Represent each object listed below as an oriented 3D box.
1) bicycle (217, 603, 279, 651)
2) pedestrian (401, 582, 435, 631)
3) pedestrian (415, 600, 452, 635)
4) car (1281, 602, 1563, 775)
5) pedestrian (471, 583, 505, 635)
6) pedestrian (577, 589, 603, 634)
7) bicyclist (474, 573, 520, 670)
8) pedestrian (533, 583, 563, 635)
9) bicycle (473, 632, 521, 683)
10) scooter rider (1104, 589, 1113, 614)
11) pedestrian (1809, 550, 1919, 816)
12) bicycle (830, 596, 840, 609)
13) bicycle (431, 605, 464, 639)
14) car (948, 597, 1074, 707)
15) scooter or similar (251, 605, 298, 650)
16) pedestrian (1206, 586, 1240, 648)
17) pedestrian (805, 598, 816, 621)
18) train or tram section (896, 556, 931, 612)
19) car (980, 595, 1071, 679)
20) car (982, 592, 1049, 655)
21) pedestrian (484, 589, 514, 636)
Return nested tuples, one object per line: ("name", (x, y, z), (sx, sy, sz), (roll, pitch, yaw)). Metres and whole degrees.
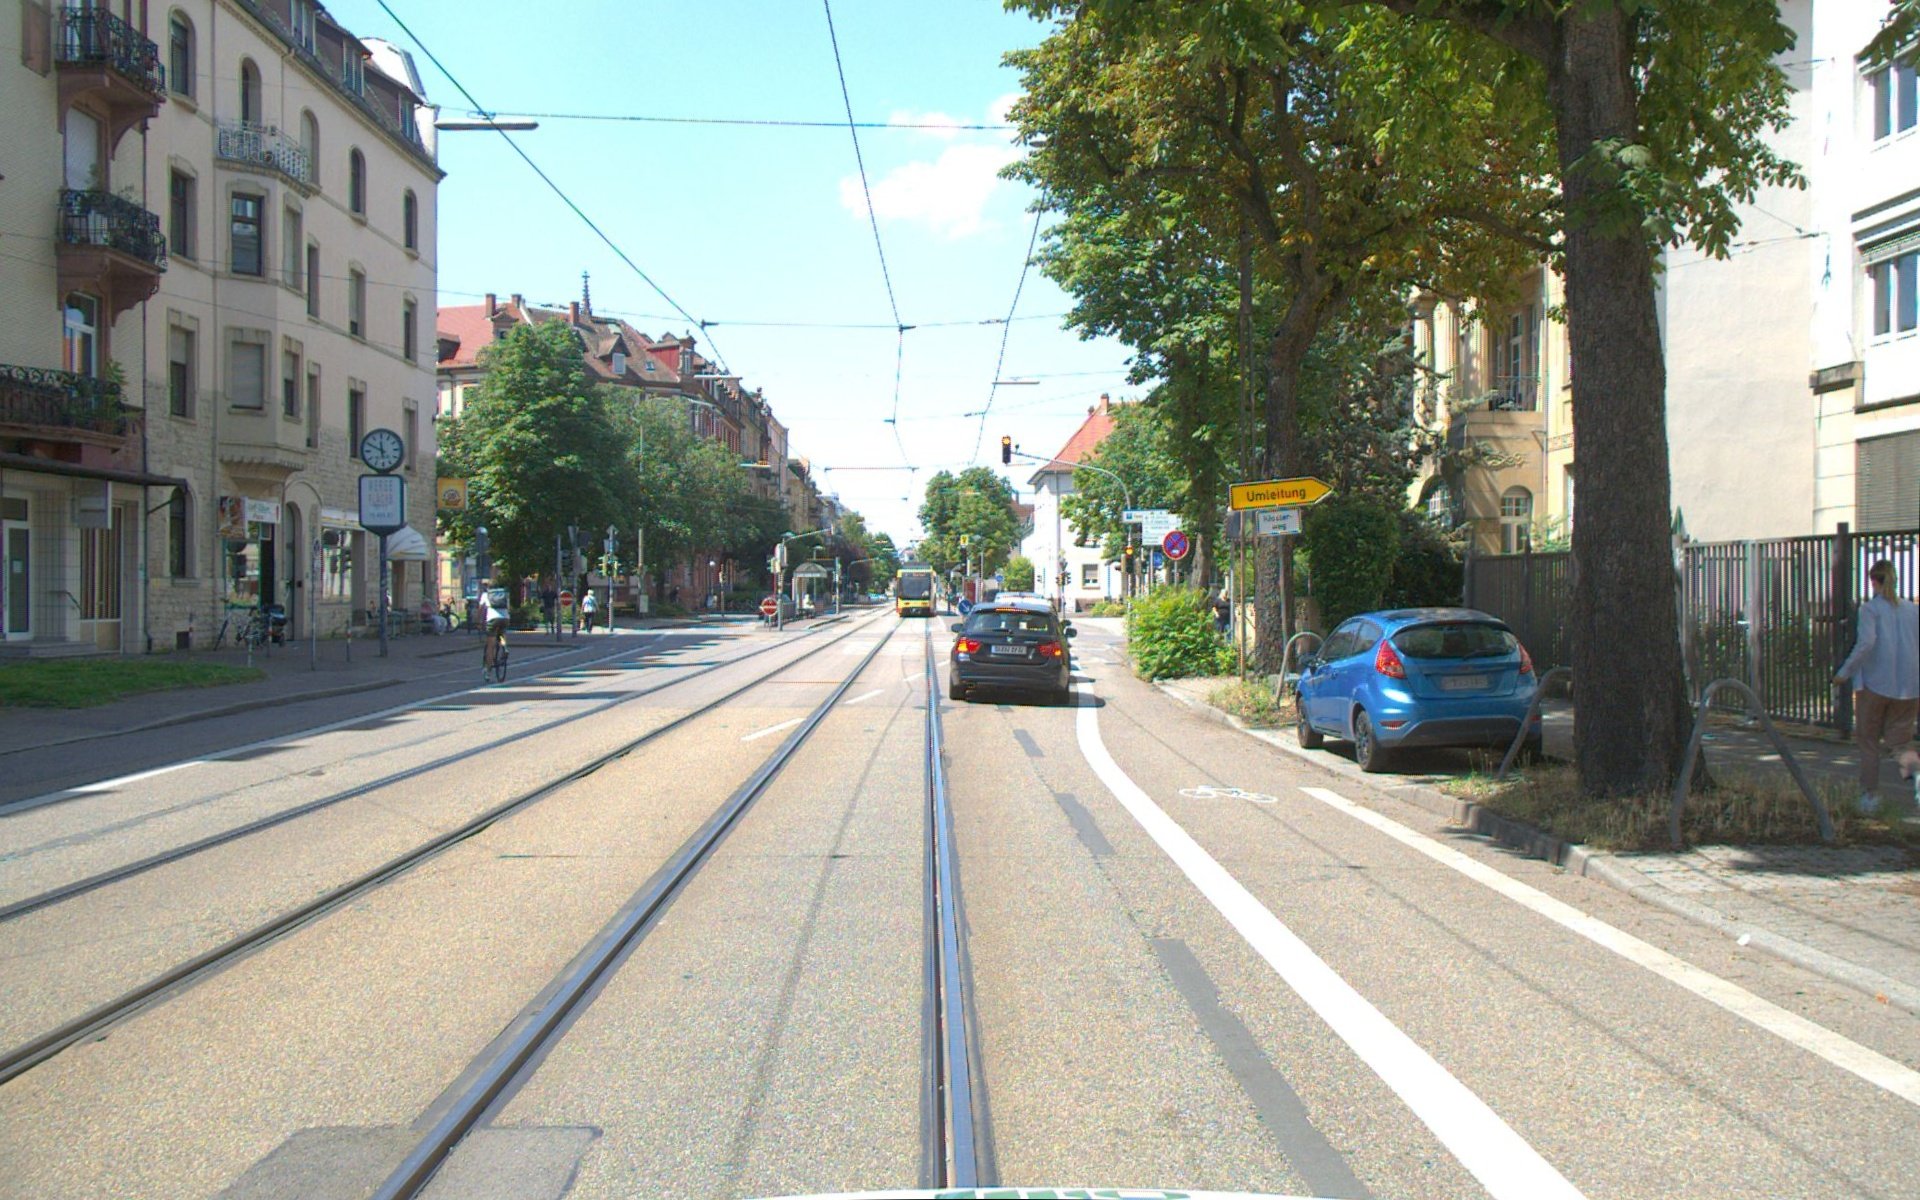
("bicycle", (-16.565, 0.633, 38.494), (0.362, 1.084, 1.464), (1, -1, 22))
("pedestrian", (-18.108, 0.228, 55.268), (0.898, 1.622, 0.808), (0, 0, -5))
("pedestrian", (-16.986, 0.557, 53.364), (0.897, 1.096, 0.883), (0, 0, 0))
("car", (4.486, 0.790, 16.612), (1.643, 1.468, 3.719), (-2, 0, -2))
("pedestrian", (-16.132, 0.299, 56.521), (0.848, 1.763, 0.770), (1, 0, 45))
("pedestrian", (-14.378, 0.441, 64.209), (0.899, 1.753, 0.839), (0, 0, -7))
("bicyclist", (-8.288, 0.387, 29.604), (0.744, 1.692, 0.827), (2, -1, -17))
("pedestrian", (-15.535, 0.335, 62.391), (0.882, 1.924, 1.164), (0, 0, -2))
("bicycle", (-8.303, 1.010, 29.611), (0.741, 0.832, 1.810), (0, 0, -19))
("scooter rider", (10.566, 0.103, 117.611), (0.579, 1.716, 0.527), (0, 0, -7))
("pedestrian", (6.224, 0.522, 10.945), (0.750, 1.680, 0.974), (0, 0, 4))
("bicycle", (-11.215, 0.201, 148.395), (0.714, 1.121, 1.715), (0, 0, -1))
("bicycle", (-17.642, 0.761, 56.908), (0.539, 1.148, 1.660), (0, -2, -38))
("car", (0.786, 0.710, 25.033), (1.687, 1.433, 4.566), (2, 0, 2))
("scooter or similar", (-16.784, 0.680, 40.490), (0.690, 1.062, 1.192), (2, -1, -41))
("pedestrian", (7.193, 0.464, 45.272), (0.838, 1.674, 0.837), (0, 0, 5))
("pedestrian", (-8.033, 0.515, 88.896), (0.602, 1.264, 0.627), (0, 0, -7))
("train or tram section", (-3.036, -1.012, 108.651), (2.146, 3.543, 8.842), (0, 0, -1))
("car", (1.220, 0.662, 31.942), (1.650, 1.510, 3.685), (0, 0, 1))
("car", (1.487, 0.602, 43.885), (1.656, 1.540, 3.822), (2, 0, 2))
("pedestrian", (-16.592, 0.449, 59.531), (0.843, 1.664, 1.026), (0, 0, -2))
